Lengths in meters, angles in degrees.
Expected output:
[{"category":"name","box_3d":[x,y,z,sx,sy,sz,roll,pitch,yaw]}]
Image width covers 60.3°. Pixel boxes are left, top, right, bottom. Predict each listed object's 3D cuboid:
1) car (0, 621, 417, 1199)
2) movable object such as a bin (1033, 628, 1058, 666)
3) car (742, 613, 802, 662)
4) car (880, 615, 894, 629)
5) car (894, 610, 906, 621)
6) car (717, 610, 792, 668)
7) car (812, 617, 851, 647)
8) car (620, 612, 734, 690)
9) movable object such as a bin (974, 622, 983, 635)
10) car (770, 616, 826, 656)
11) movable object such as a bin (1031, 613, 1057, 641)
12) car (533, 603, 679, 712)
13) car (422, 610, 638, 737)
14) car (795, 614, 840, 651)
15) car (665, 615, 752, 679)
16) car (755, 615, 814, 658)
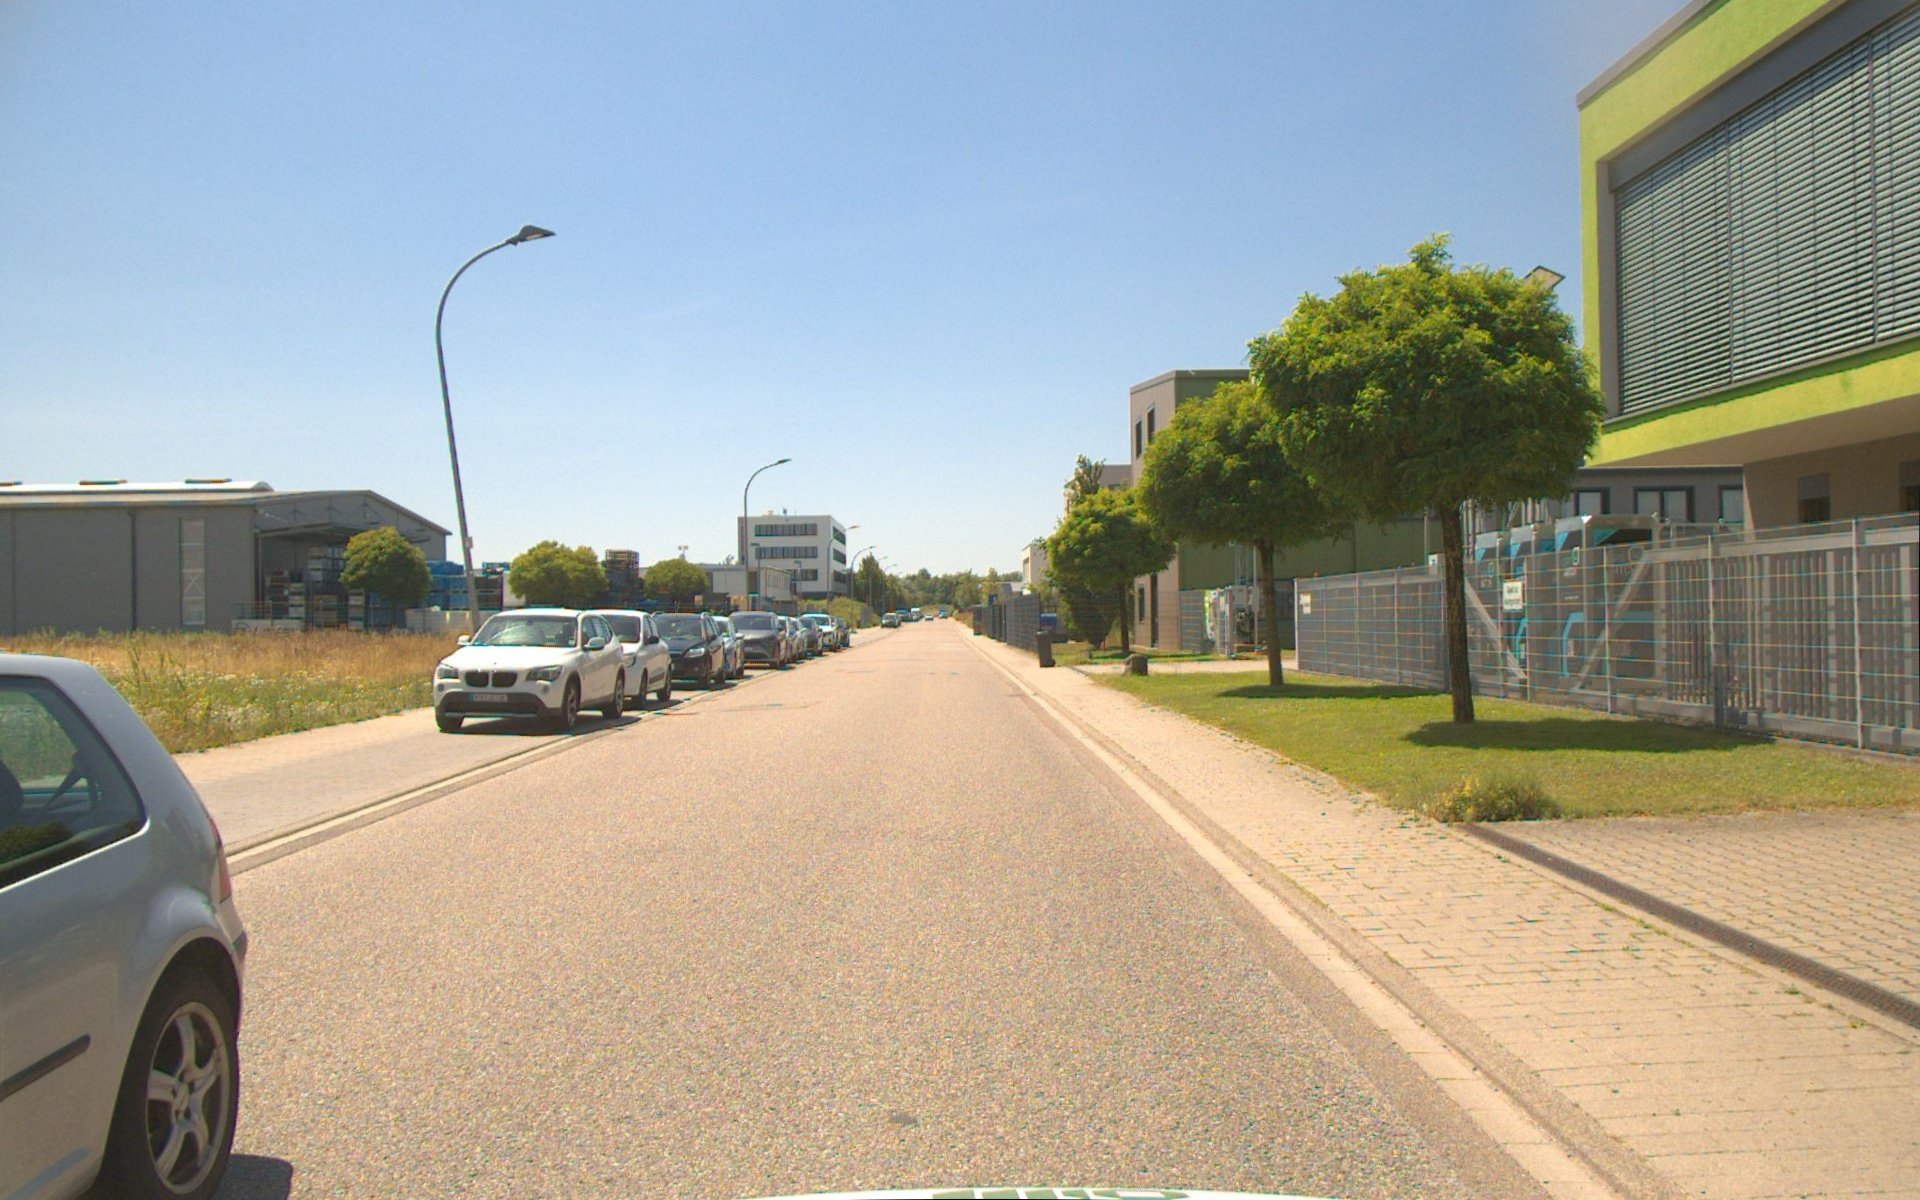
[{"category":"car","box_3d":[-2.617,0.822,3.028,1.669,1.436,4.783,-3,0,-1]},{"category":"movable object such as a bin","box_3d":[2.257,1.244,43.601,0.540,0.944,0.522,-5,-1,9]},{"category":"car","box_3d":[-6.174,1.229,54.666,1.659,1.552,3.734,0,-1,-2]},{"category":"car","box_3d":[-7.924,2.354,179.700,1.437,1.516,3.207,-1,0,0]},{"category":"car","box_3d":[-8.524,2.211,234.675,1.611,1.516,3.207,-1,0,0]},{"category":"car","box_3d":[-5.986,1.120,48.510,1.754,1.635,4.461,0,-1,-2]},{"category":"car","box_3d":[-6.575,1.642,84.936,1.733,1.487,4.332,0,-1,-1]},{"category":"car","box_3d":[-5.885,1.030,34.886,1.727,1.544,4.378,0,-1,-1]},{"category":"movable object such as a bin","box_3d":[1.476,2.273,132.014,0.541,0.944,0.522,-5,0,3]},{"category":"car","box_3d":[-6.342,1.380,65.070,1.819,1.507,4.228,0,-1,-1]},{"category":"movable object such as a bin","box_3d":[4.571,1.446,90.180,1.307,1.485,0.948,-1,-1,-1]},{"category":"car","box_3d":[-5.868,0.916,27.831,1.751,1.685,3.767,0,0,-2]},{"category":"car","box_3d":[-5.763,0.924,22.701,1.750,1.569,4.365,0,0,1]},{"category":"car","box_3d":[-6.351,1.431,73.988,1.733,1.620,4.358,0,-1,-2]},{"category":"car","box_3d":[-6.154,1.120,40.855,1.728,1.476,4.197,0,-1,-4]},{"category":"car","box_3d":[-6.373,1.297,60.502,1.739,1.507,4.814,0,-1,-2]}]
